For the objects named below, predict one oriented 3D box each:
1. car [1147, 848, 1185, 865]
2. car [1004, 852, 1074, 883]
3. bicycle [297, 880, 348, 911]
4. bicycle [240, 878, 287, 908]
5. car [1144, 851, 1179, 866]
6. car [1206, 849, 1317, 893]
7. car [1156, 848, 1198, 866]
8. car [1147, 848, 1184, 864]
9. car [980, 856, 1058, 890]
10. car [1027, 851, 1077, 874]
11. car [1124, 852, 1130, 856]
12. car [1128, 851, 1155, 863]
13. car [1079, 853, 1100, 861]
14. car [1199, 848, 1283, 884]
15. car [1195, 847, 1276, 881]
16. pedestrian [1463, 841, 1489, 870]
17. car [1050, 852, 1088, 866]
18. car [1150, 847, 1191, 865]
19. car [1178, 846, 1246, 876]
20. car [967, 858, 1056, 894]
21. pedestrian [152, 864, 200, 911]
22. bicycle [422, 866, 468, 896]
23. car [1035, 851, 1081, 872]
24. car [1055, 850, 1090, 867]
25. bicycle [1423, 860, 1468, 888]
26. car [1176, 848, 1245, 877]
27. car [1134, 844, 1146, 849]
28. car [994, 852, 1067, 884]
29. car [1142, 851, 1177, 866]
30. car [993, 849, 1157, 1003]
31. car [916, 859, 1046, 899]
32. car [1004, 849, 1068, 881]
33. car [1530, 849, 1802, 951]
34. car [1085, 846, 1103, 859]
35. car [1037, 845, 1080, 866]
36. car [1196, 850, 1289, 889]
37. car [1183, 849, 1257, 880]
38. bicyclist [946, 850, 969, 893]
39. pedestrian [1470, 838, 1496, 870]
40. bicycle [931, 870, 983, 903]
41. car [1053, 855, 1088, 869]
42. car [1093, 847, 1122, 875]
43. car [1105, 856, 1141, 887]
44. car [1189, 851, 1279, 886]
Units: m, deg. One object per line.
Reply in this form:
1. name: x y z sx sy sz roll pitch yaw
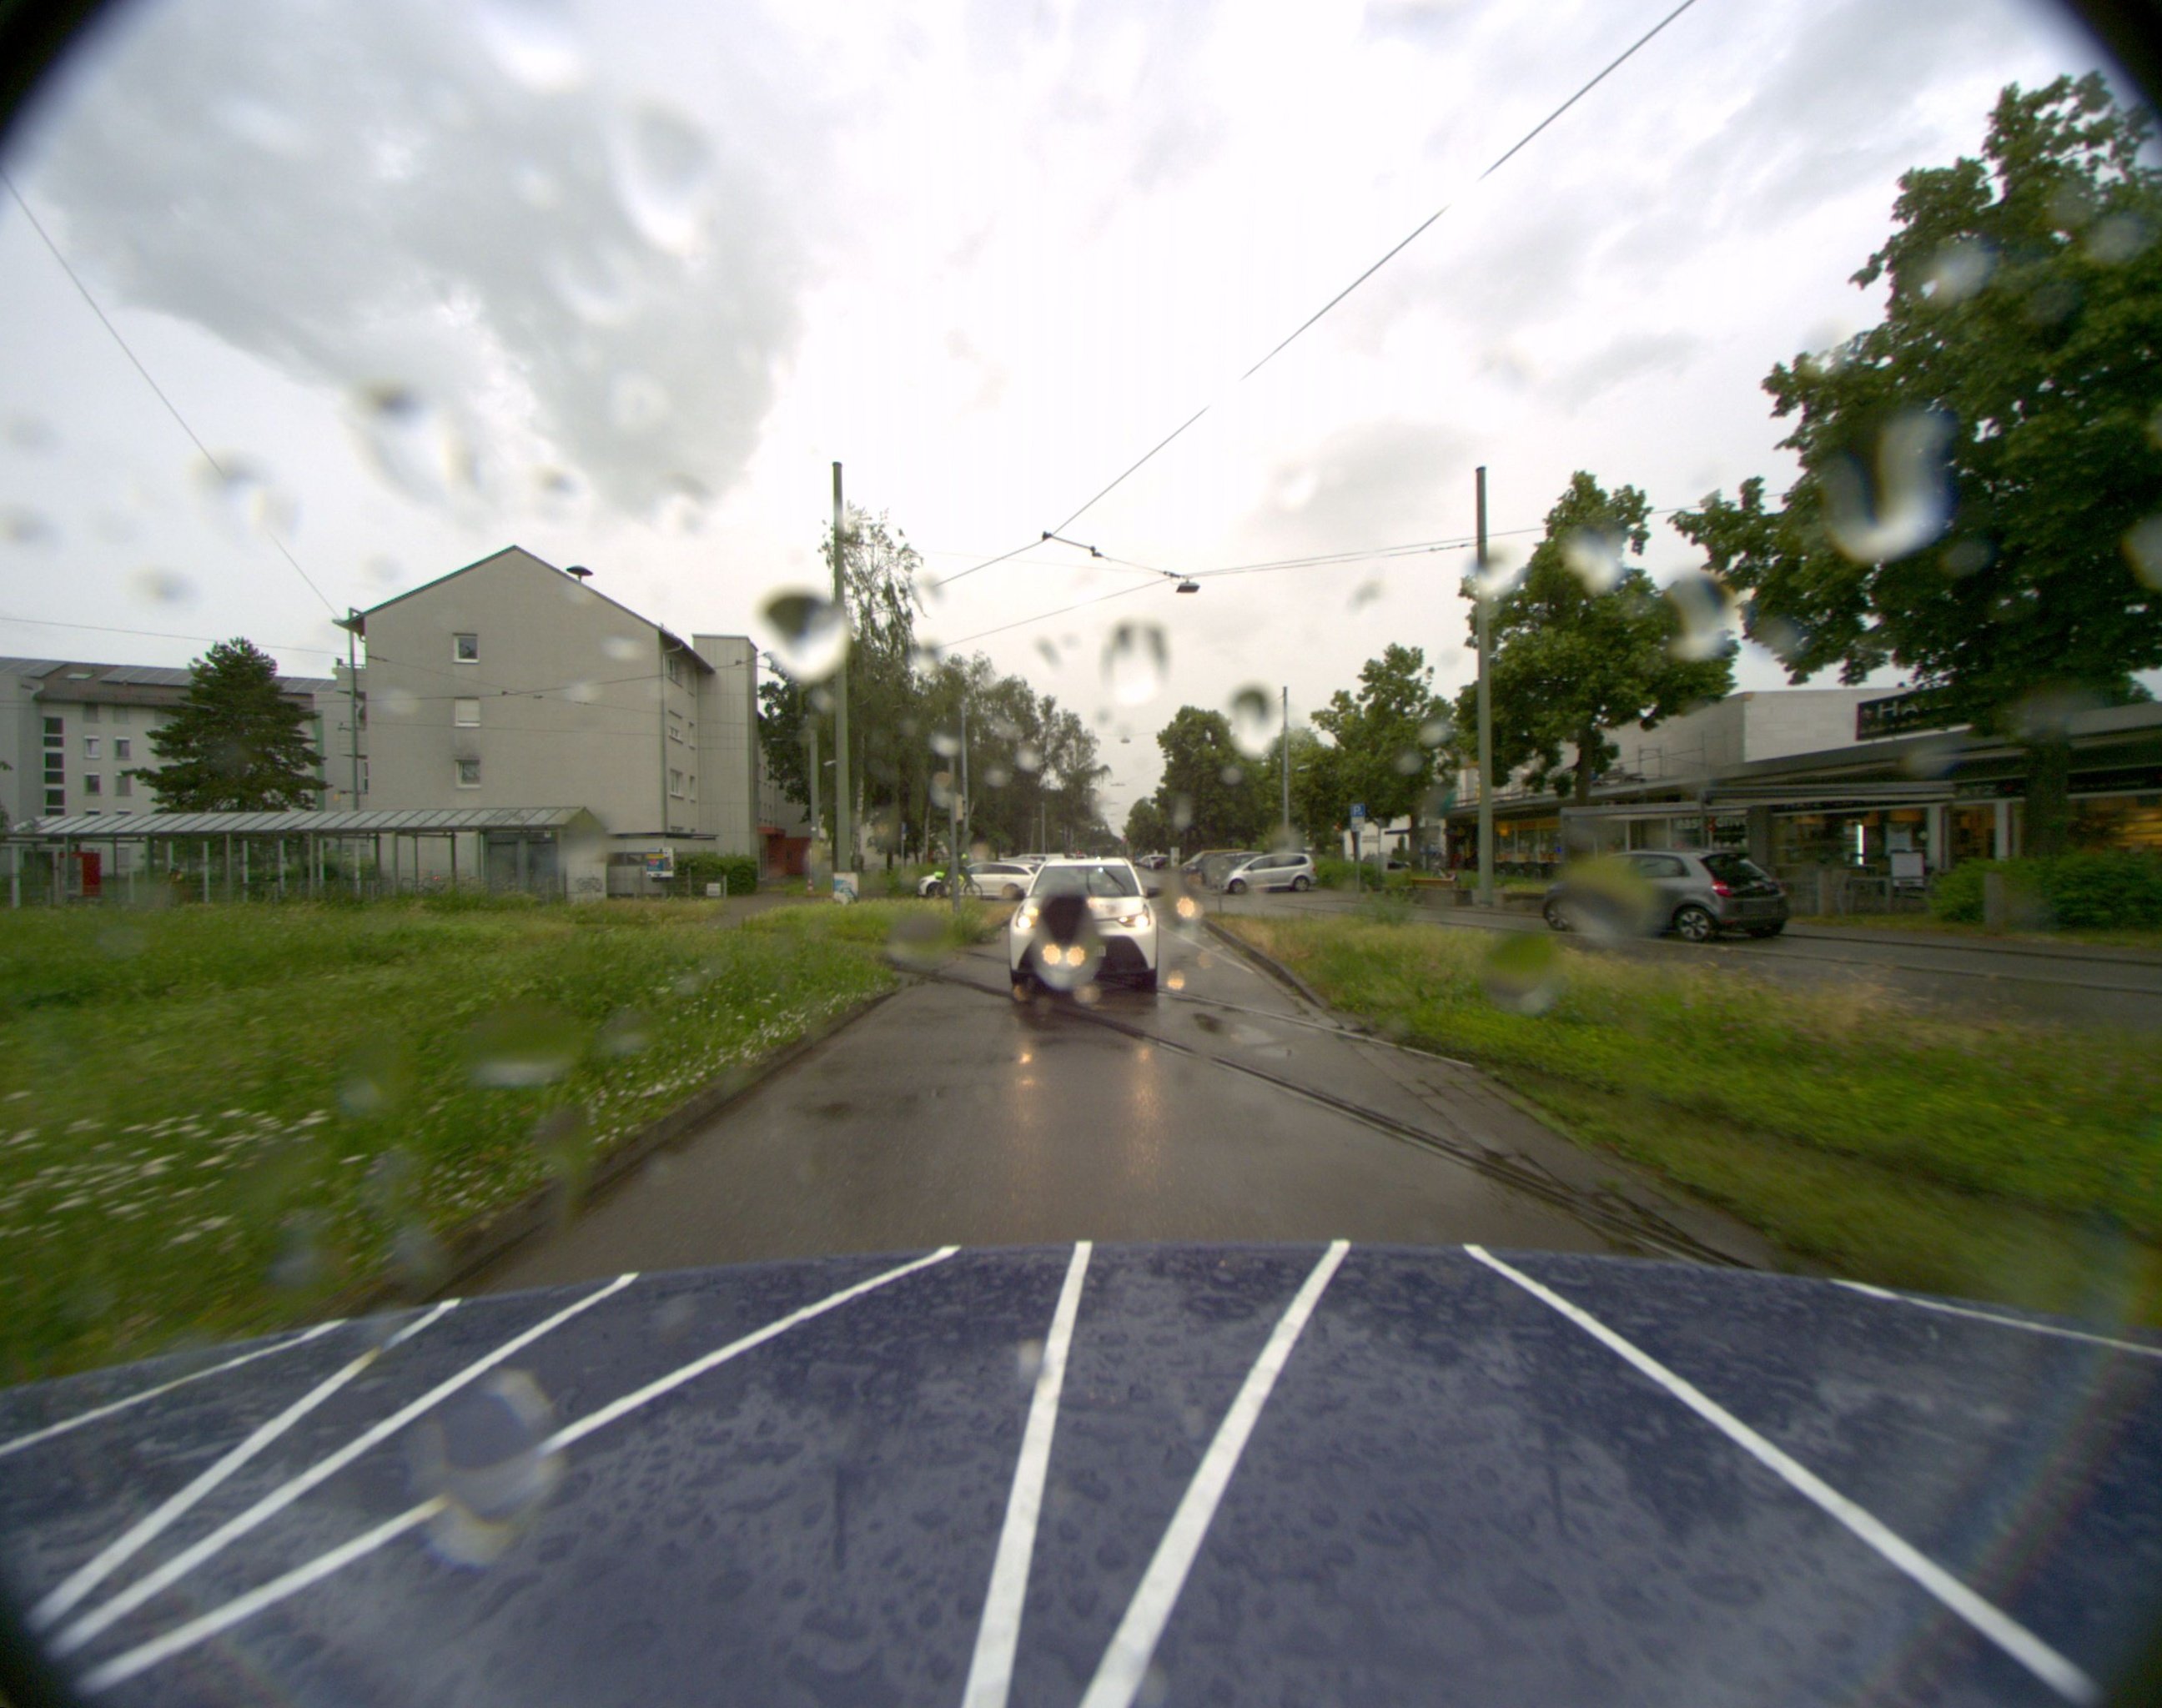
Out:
1. car: 10.762 0.316 95.940 4.545 1.931 1.899 -2 0 1
2. car: -2.793 0.925 51.409 4.441 1.835 1.723 -3 1 3
3. bicycle: -25.758 1.399 25.828 0.377 0.942 1.238 -3 0 5
4. bicycle: -27.982 1.321 26.032 0.418 0.942 1.306 -3 0 -14
5. car: 10.962 0.591 103.487 4.545 1.931 1.899 -2 0 1
6. car: 7.744 0.722 32.910 4.334 1.664 2.000 -2 0 1
7. car: 10.811 0.334 85.924 4.545 1.931 1.899 -2 0 1
8. car: 10.942 0.302 99.017 4.545 1.931 1.899 -2 0 1
9. car: -3.347 1.016 41.549 3.996 1.576 1.723 -3 0 3
10. car: -2.671 0.781 71.360 4.545 1.931 1.899 -2 0 1
11. car: 15.531 -0.067 257.696 1.998 1.320 4.000 -3 0 2
12. car: 10.600 0.523 133.784 4.545 1.931 1.899 -2 0 1
13. car: 1.813 0.610 162.807 4.545 1.631 1.899 -2 0 1
14. car: 8.485 0.626 40.574 4.088 1.699 1.899 -2 0 1
15. car: 8.618 0.562 42.622 4.088 1.699 1.899 -2 0 1
16. pedestrian: 22.339 0.078 43.009 1.078 1.575 0.949 -1 1 13
17. car: -1.491 0.647 95.385 4.545 1.574 1.899 -2 0 1
18. car: 10.583 0.250 89.780 4.545 1.931 1.899 -2 0 1
19. car: 9.359 0.478 54.480 4.545 1.931 1.899 -2 0 1
20. car: -3.277 1.022 36.392 3.996 1.477 1.723 -3 0 3
21. pedestrian: -31.771 1.171 26.680 0.636 1.563 0.789 -3 1 1
22. bicycle: -21.658 0.897 25.896 0.377 0.950 1.238 -3 0 5
23. car: -2.309 0.738 76.707 4.545 1.931 1.899 -2 0 1
24. car: -1.132 0.583 101.375 4.545 2.013 1.899 -2 0 1
25. bicycle: 14.324 0.762 29.900 0.594 1.066 1.748 0 0 -15
26. car: 8.695 0.552 51.289 4.302 1.799 1.899 -2 0 1
27. car: 19.995 -2.519 257.363 3.996 1.688 2.000 -3 0 2
28. car: -3.193 0.879 48.991 4.441 1.835 1.723 -3 1 3
29. car: 10.927 0.586 106.098 4.545 1.931 1.899 -2 0 1
30. car: 0.042 0.830 9.992 1.719 1.613 3.717 -2 -2 4
31. car: -3.915 0.959 30.320 4.837 1.449 2.000 1 0 3
32. car: -3.168 0.773 54.316 4.442 2.050 1.722 -3 1 -1
33. car: 10.214 0.728 13.615 1.553 1.494 3.618 -3 0 -16
34. car: 3.327 -0.386 192.186 4.545 2.928 1.899 -2 0 1
35. car: -2.341 0.161 81.004 4.442 2.050 1.722 -3 1 -1
36. car: 7.556 0.723 35.766 3.944 1.664 1.794 -2 0 1
37. car: 8.289 0.610 45.585 4.088 1.699 1.899 -2 0 1
38. bicyclist: -4.432 0.615 27.276 0.699 1.507 0.724 -1 0 -17
39. pedestrian: 22.096 0.007 41.760 1.078 1.704 0.949 -1 1 13
40. bicycle: -4.454 1.159 27.259 1.755 1.123 0.727 -1 -1 -17
41. car: -1.354 1.021 98.833 4.545 1.574 1.899 -2 0 1
42. car: 2.004 0.545 58.650 1.998 2.002 4.000 -3 0 1
43. car: 2.499 0.989 44.178 1.961 1.544 4.000 -2 2 4
44. car: 7.664 0.730 38.281 4.088 1.562 2.000 -2 0 1
